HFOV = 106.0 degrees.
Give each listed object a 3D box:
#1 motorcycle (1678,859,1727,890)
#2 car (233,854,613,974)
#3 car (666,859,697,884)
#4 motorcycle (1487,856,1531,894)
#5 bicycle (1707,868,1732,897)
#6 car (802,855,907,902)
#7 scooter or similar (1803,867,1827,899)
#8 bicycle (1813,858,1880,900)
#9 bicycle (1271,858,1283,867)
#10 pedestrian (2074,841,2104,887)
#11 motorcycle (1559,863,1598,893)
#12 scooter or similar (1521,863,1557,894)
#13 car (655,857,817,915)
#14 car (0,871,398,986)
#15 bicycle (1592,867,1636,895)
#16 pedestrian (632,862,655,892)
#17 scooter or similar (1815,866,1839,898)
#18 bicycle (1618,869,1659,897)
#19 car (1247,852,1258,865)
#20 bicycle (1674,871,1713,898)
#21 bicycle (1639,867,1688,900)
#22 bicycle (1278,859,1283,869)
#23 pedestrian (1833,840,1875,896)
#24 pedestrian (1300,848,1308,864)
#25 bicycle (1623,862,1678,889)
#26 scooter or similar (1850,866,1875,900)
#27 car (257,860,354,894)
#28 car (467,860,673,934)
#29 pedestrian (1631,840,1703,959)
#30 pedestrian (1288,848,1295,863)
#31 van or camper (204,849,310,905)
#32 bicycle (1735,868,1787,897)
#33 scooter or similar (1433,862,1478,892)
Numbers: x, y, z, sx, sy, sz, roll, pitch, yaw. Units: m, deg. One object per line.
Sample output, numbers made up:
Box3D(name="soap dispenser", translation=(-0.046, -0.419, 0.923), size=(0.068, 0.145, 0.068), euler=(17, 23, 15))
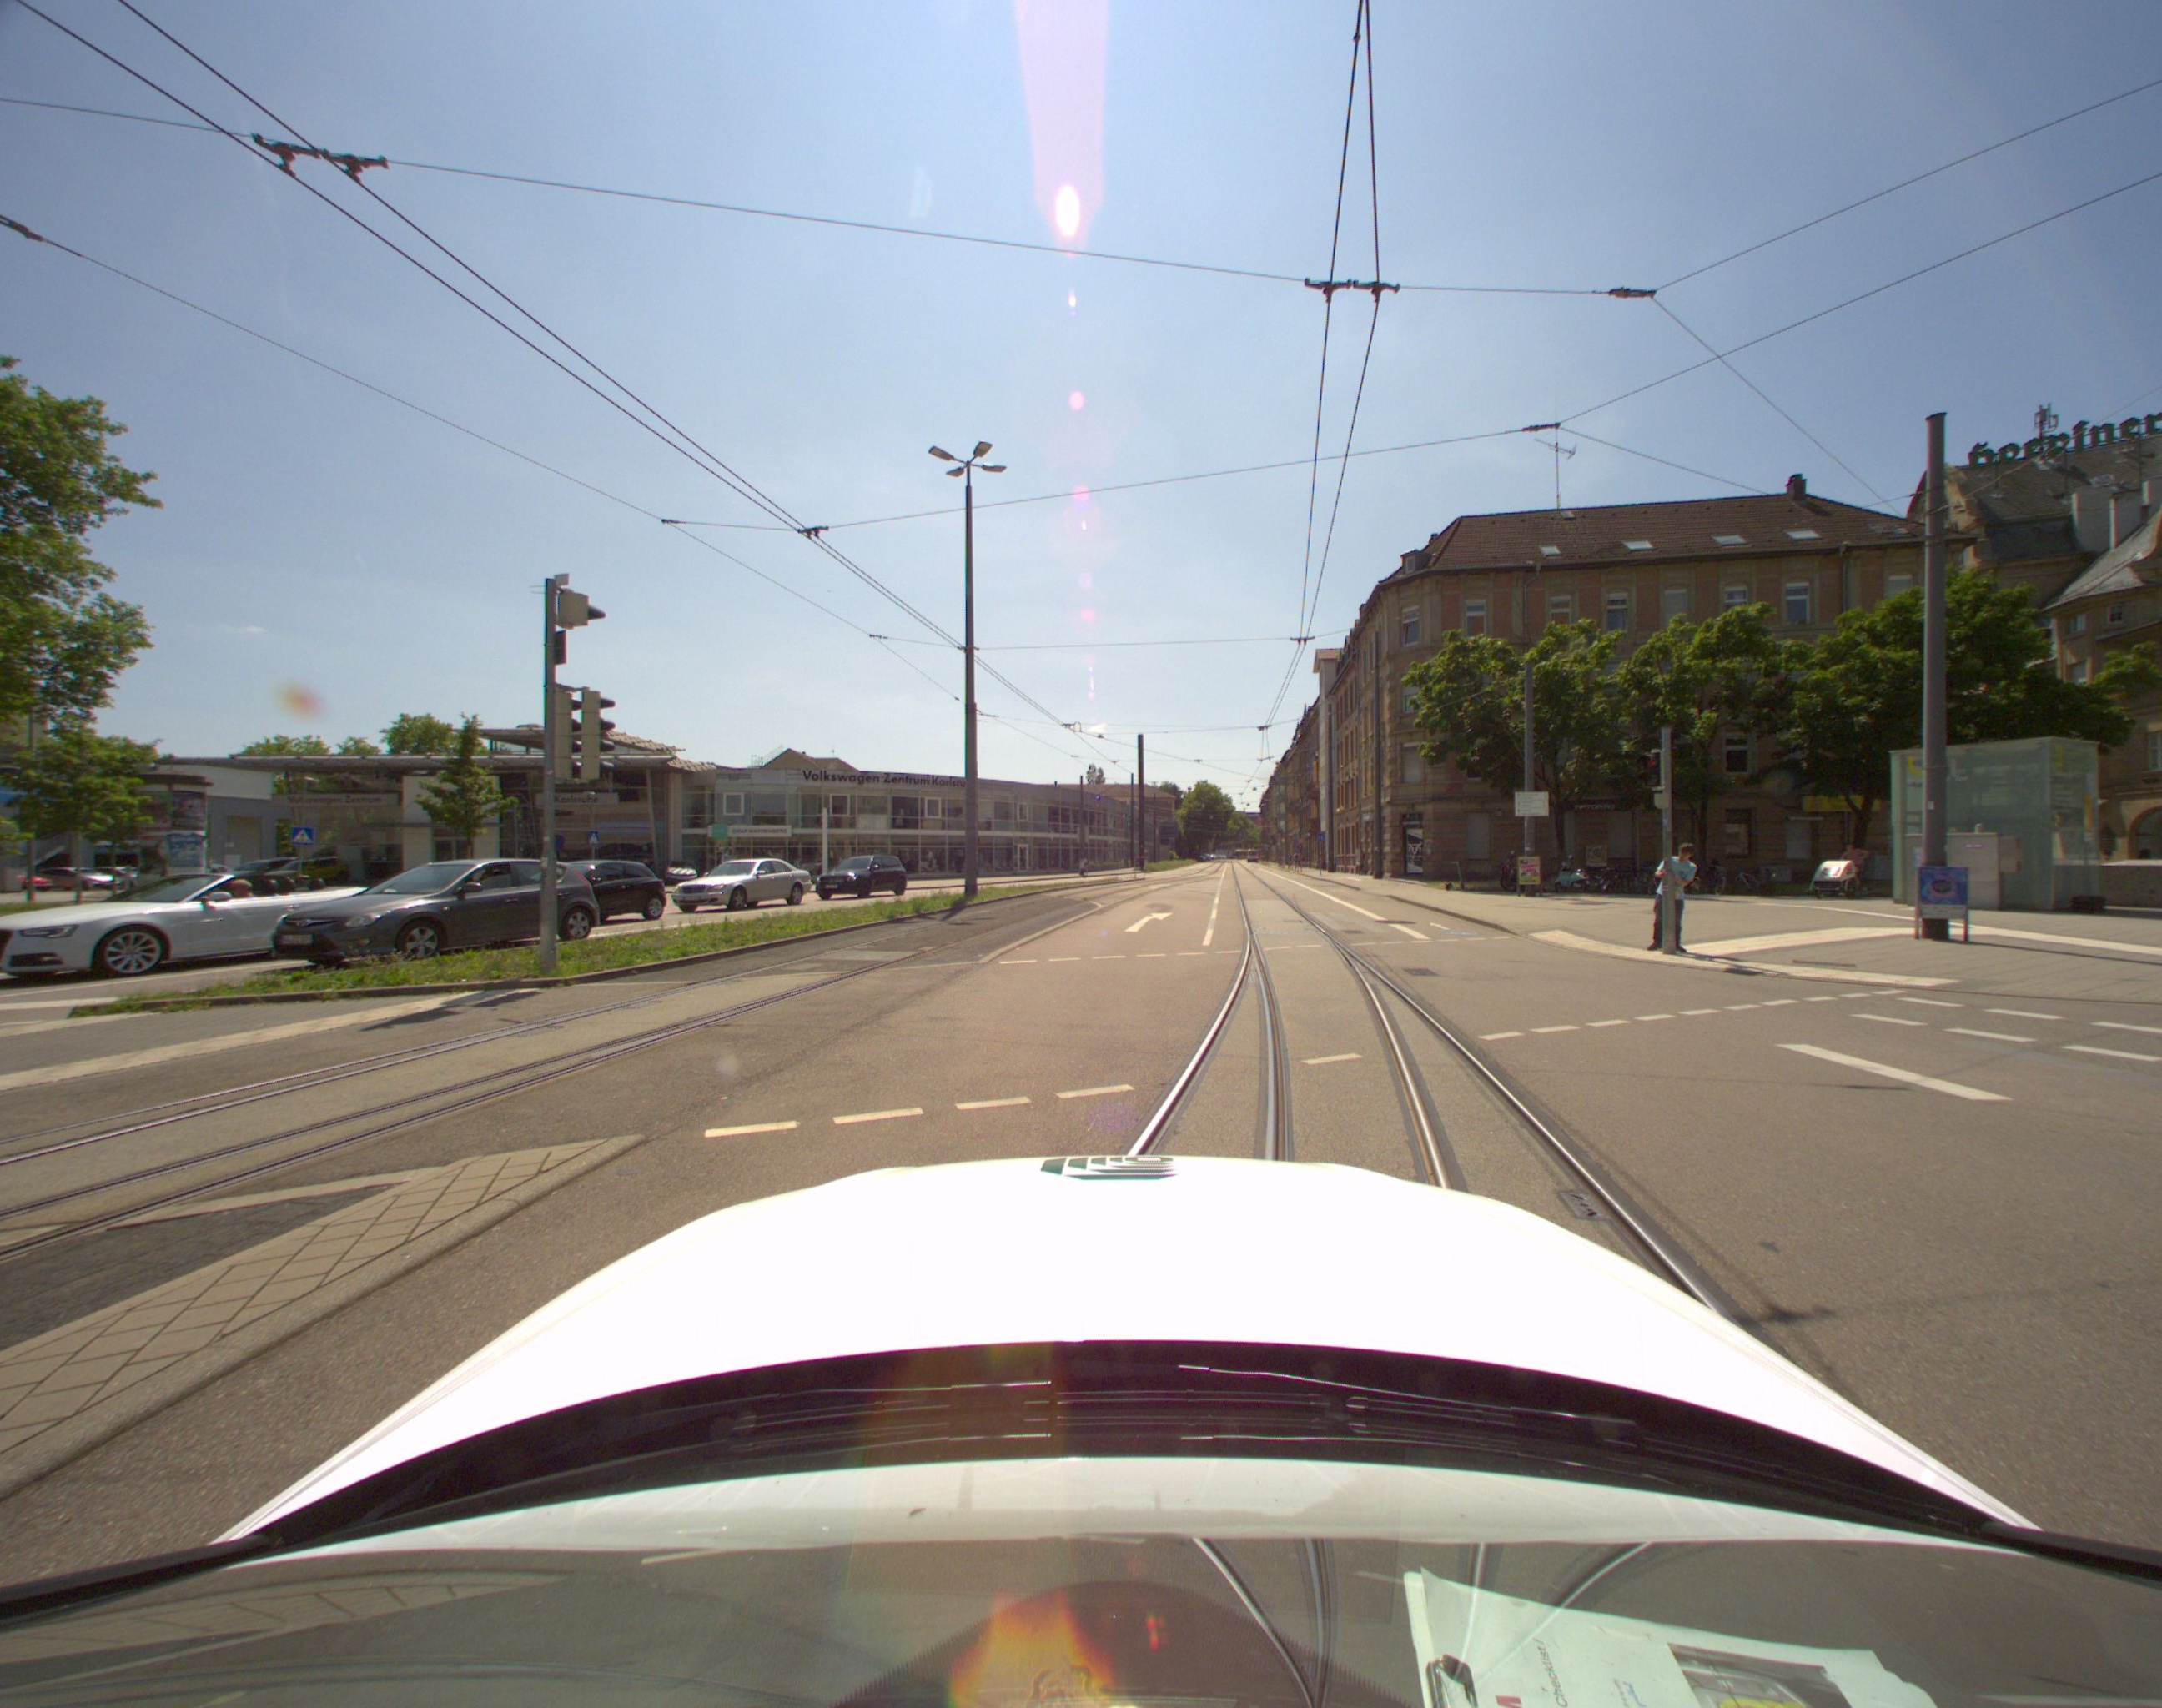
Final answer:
Box3D(name="motorcycle", translation=(26.785, 0.883, 35.123), size=(1.630, 1.290, 0.504), euler=(0, 0, 9))
Box3D(name="car", translation=(-9.728, 0.785, 12.602), size=(1.831, 1.480, 4.344), euler=(-1, 0, 12))
Box3D(name="car", translation=(-23.770, 1.009, 48.565), size=(1.504, 1.457, 4.023), euler=(0, 0, -24))
Box3D(name="motorcycle", translation=(16.180, 0.773, 30.865), size=(0.759, 1.362, 2.604), euler=(0, -1, 11))
Box3D(name="bicycle", translation=(23.323, 1.036, 29.755), size=(0.451, 0.992, 1.437), euler=(-1, 0, 28))
Box3D(name="car", translation=(-8.527, 0.885, 31.068), size=(1.809, 1.626, 4.542), euler=(-2, -1, 14))
Box3D(name="scooter or similar", translation=(26.460, 1.038, 29.367), size=(0.988, 1.125, 0.266), euler=(0, 0, -24))
Box3D(name="bicycle", translation=(24.330, 0.761, 25.876), size=(2.229, 1.251, 1.088), euler=(0, 0, -34))
Box3D(name="bicycle", translation=(25.331, 1.078, 105.212), size=(0.494, 1.130, 2.257), euler=(-1, -1, 39))
Box3D(name="pedestrian", translation=(37.370, 0.371, 30.185), size=(0.587, 1.698, 0.608), euler=(0, 0, -30))
Box3D(name="motorcycle", translation=(18.411, 0.872, 30.169), size=(0.686, 1.096, 1.753), euler=(0, -1, 11))
Box3D(name="scooter or similar", translation=(17.326, 0.922, 30.812), size=(0.598, 1.152, 1.380), euler=(0, -1, 1))
Box3D(name="car", translation=(-10.283, 0.898, 24.833), size=(1.981, 1.530, 5.146), euler=(-2, -1, 11))
Box3D(name="car", translation=(-12.809, 0.952, 11.887), size=(1.696, 1.299, 4.215), euler=(-2, -1, 10))
Box3D(name="bicycle", translation=(19.896, 0.984, 30.416), size=(0.641, 0.965, 2.088), euler=(0, 0, 11))
Box3D(name="pedestrian", translation=(-24.122, 1.252, 44.936), size=(0.722, 1.642, 0.823), euler=(-1, 0, 14))
Box3D(name="scooter or similar", translation=(26.712, 1.002, 29.149), size=(0.988, 1.125, 0.266), euler=(0, 0, -24))
Box3D(name="bicycle", translation=(20.658, 1.069, 30.207), size=(0.641, 0.965, 1.845), euler=(0, 0, 14))
Box3D(name="car", translation=(33.512, 0.791, 159.214), size=(2.054, 2.501, 5.471), euler=(1, 0, 11))
Box3D(name="bicycle", translation=(22.328, 1.095, 29.704), size=(0.453, 0.905, 1.432), euler=(0, 0, 7))
Box3D(name="bicycle", translation=(21.448, 1.056, 30.028), size=(0.642, 1.146, 1.842), euler=(0, 0, 7))
Box3D(name="bicycle", translation=(24.033, 1.217, 98.040), size=(0.444, 1.097, 2.433), euler=(-1, 0, 16))
Box3D(name="pedestrian", translation=(24.885, 0.444, 26.214), size=(0.828, 1.775, 0.806), euler=(1, -1, -33))
Box3D(name="pedestrian", translation=(25.284, 0.234, 92.410), size=(0.698, 1.849, 0.646), euler=(-4, -1, 11))
Box3D(name="bicycle", translation=(25.058, 0.939, 35.835), size=(1.867, 1.178, 0.715), euler=(0, 0, 4))
Box3D(name="scooter or similar", translation=(27.037, 1.001, 28.187), size=(0.988, 1.125, 0.266), euler=(0, 0, -24))
Box3D(name="car", translation=(-44.291, 1.272, 46.624), size=(1.652, 1.832, 4.097), euler=(0, 0, -1))
Box3D(name="car", translation=(-11.249, 0.883, 18.284), size=(1.660, 1.462, 3.915), euler=(-1, 0, 10))
Box3D(name="pedestrian", translation=(9.205, 0.685, 12.795), size=(0.800, 1.779, 0.880), euler=(-1, -1, 43))
Box3D(name="pedestrian", translation=(23.976, 0.193, 92.888), size=(0.715, 1.720, 0.645), euler=(-1, -1, 11))
Box3D(name="van or camper", translation=(-46.933, 1.255, 46.541), size=(1.987, 3.003, 3.999), euler=(0, 0, -1))
Box3D(name="bicycle", translation=(24.674, 1.033, 29.579), size=(0.501, 0.992, 1.567), euler=(0, 0, -4))
Box3D(name="scooter or similar", translation=(14.752, 0.886, 32.095), size=(1.524, 1.155, 0.711), euler=(0, 0, -18))
